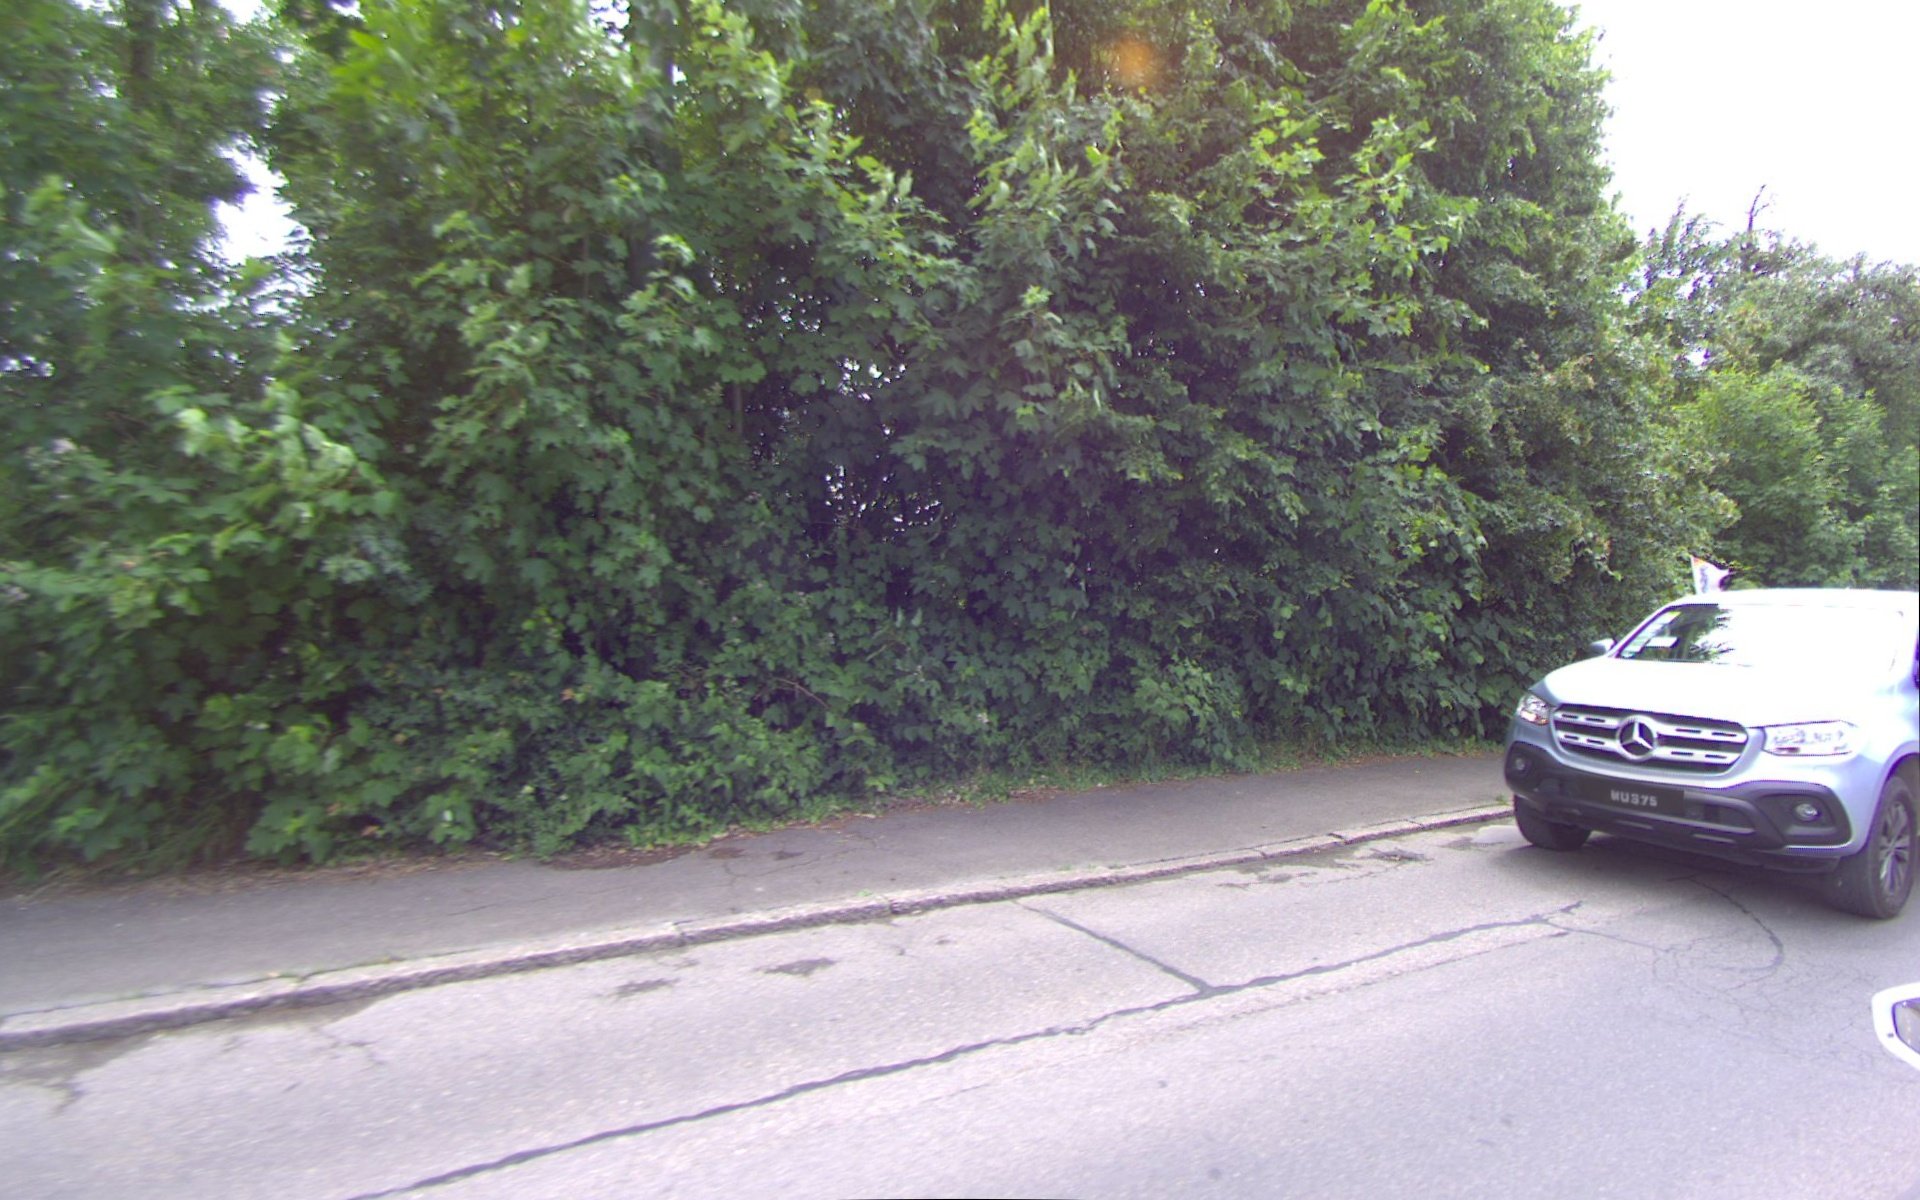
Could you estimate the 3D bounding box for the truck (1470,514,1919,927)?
[{"bbox_3d":[5.825,0.636,6.940,4.904,1.992,1.838,2,0,-33],"label":"truck"}]
